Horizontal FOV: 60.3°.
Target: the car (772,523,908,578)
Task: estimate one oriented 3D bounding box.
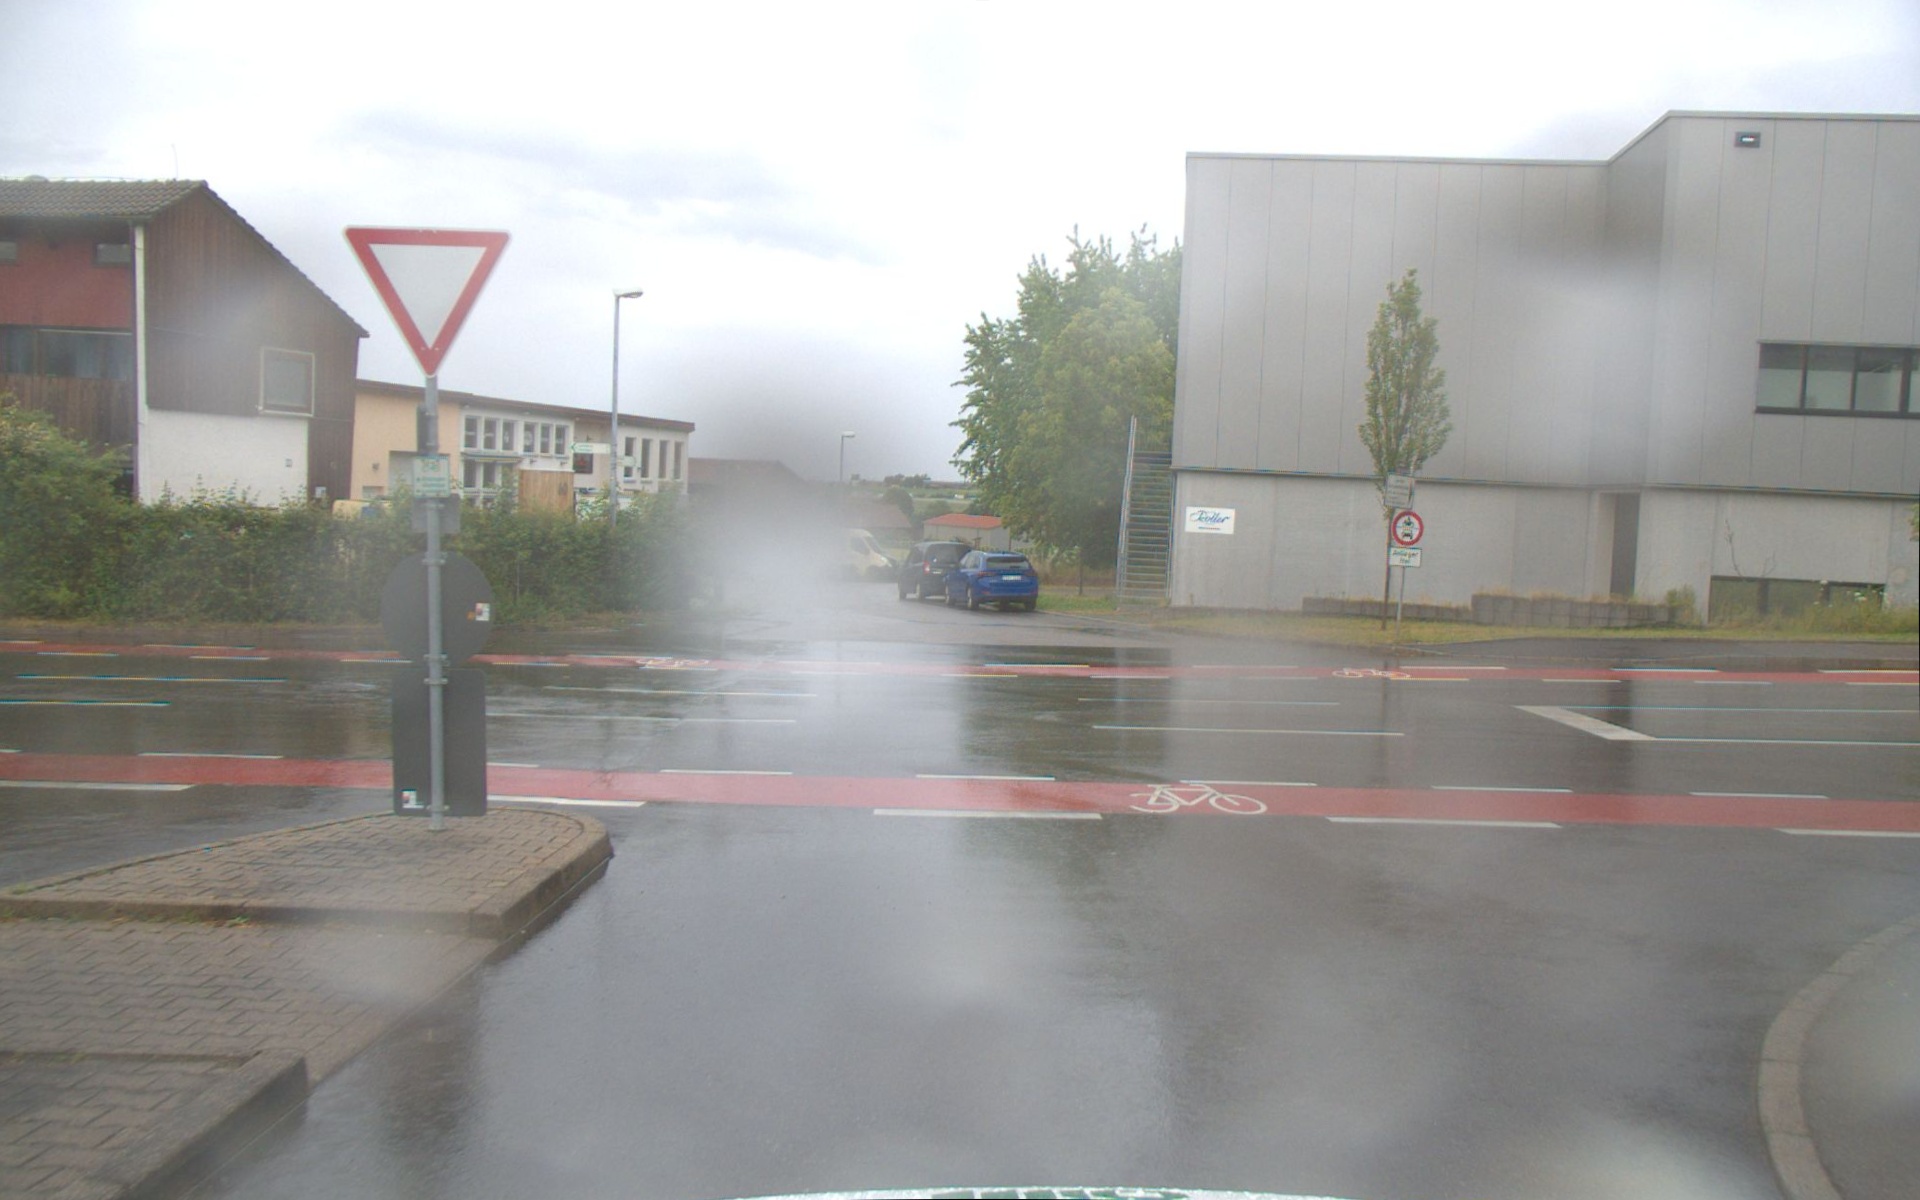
[{"bbox_3d":[-5.615,-2.333,77.808,5.881,2.457,2.465,1,1,13],"label":"car"}]

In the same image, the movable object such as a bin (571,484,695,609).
[{"bbox_3d":[-7.168,-1.167,36.534,1.696,2.601,3.342,1,1,7],"label":"movable object such as a bin"}]

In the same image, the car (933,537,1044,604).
[{"bbox_3d":[0.681,-0.787,43.171,1.918,1.638,4.433,1,1,-13],"label":"car"}]

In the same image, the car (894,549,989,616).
[{"bbox_3d":[-0.619,-0.555,49.346,2.037,1.866,4.458,1,1,-11],"label":"car"}]

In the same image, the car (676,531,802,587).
[{"bbox_3d":[-8.030,-1.482,59.962,4.321,1.938,1.993,2,1,36],"label":"car"}]
